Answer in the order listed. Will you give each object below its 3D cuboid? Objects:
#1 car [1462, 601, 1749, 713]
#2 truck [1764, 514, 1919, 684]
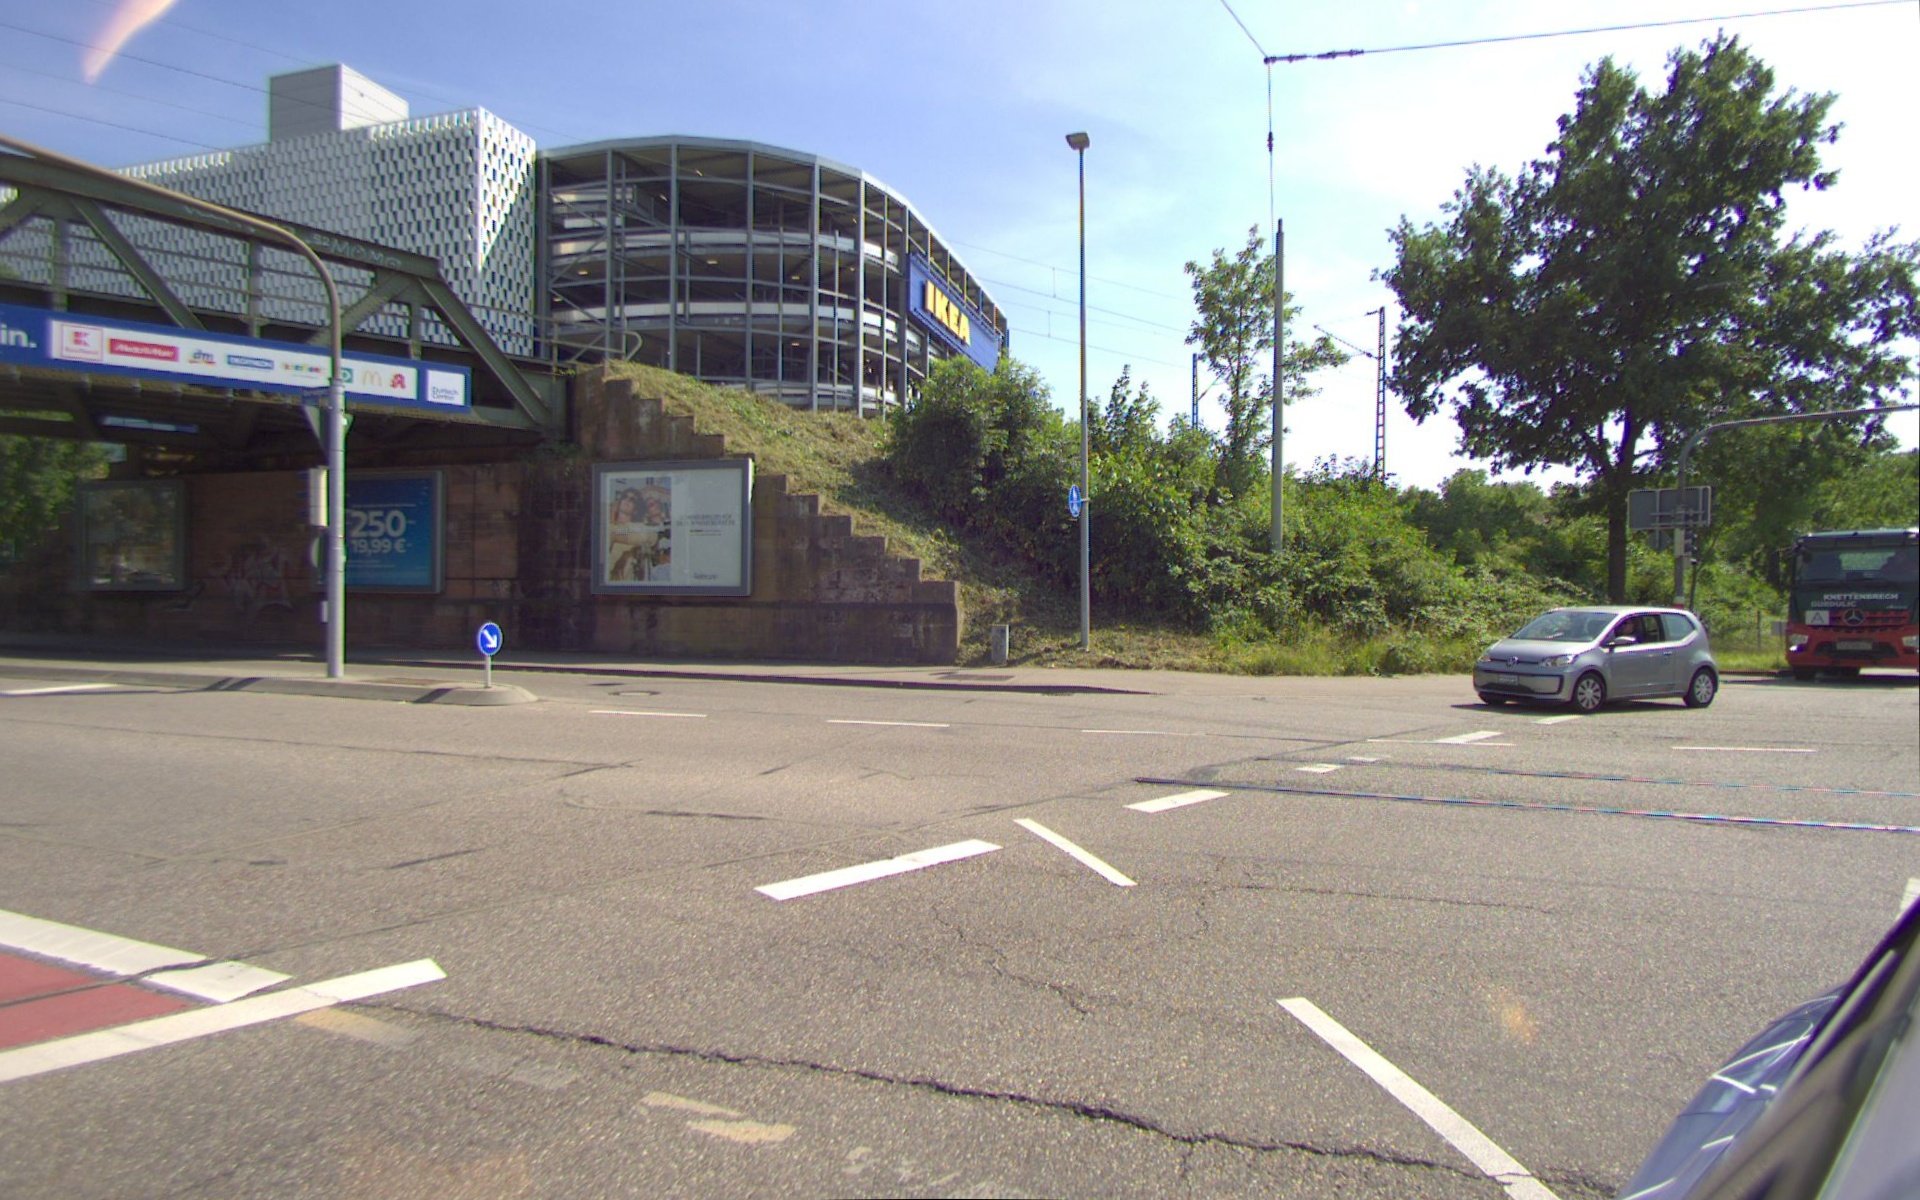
[{"bbox_3d":[9.365,0.765,14.707,3.601,1.455,1.709,1,0,-21],"label":"car"},{"bbox_3d":[20.856,0.017,22.840,7.348,3.308,2.775,1,-1,-39],"label":"truck"}]
